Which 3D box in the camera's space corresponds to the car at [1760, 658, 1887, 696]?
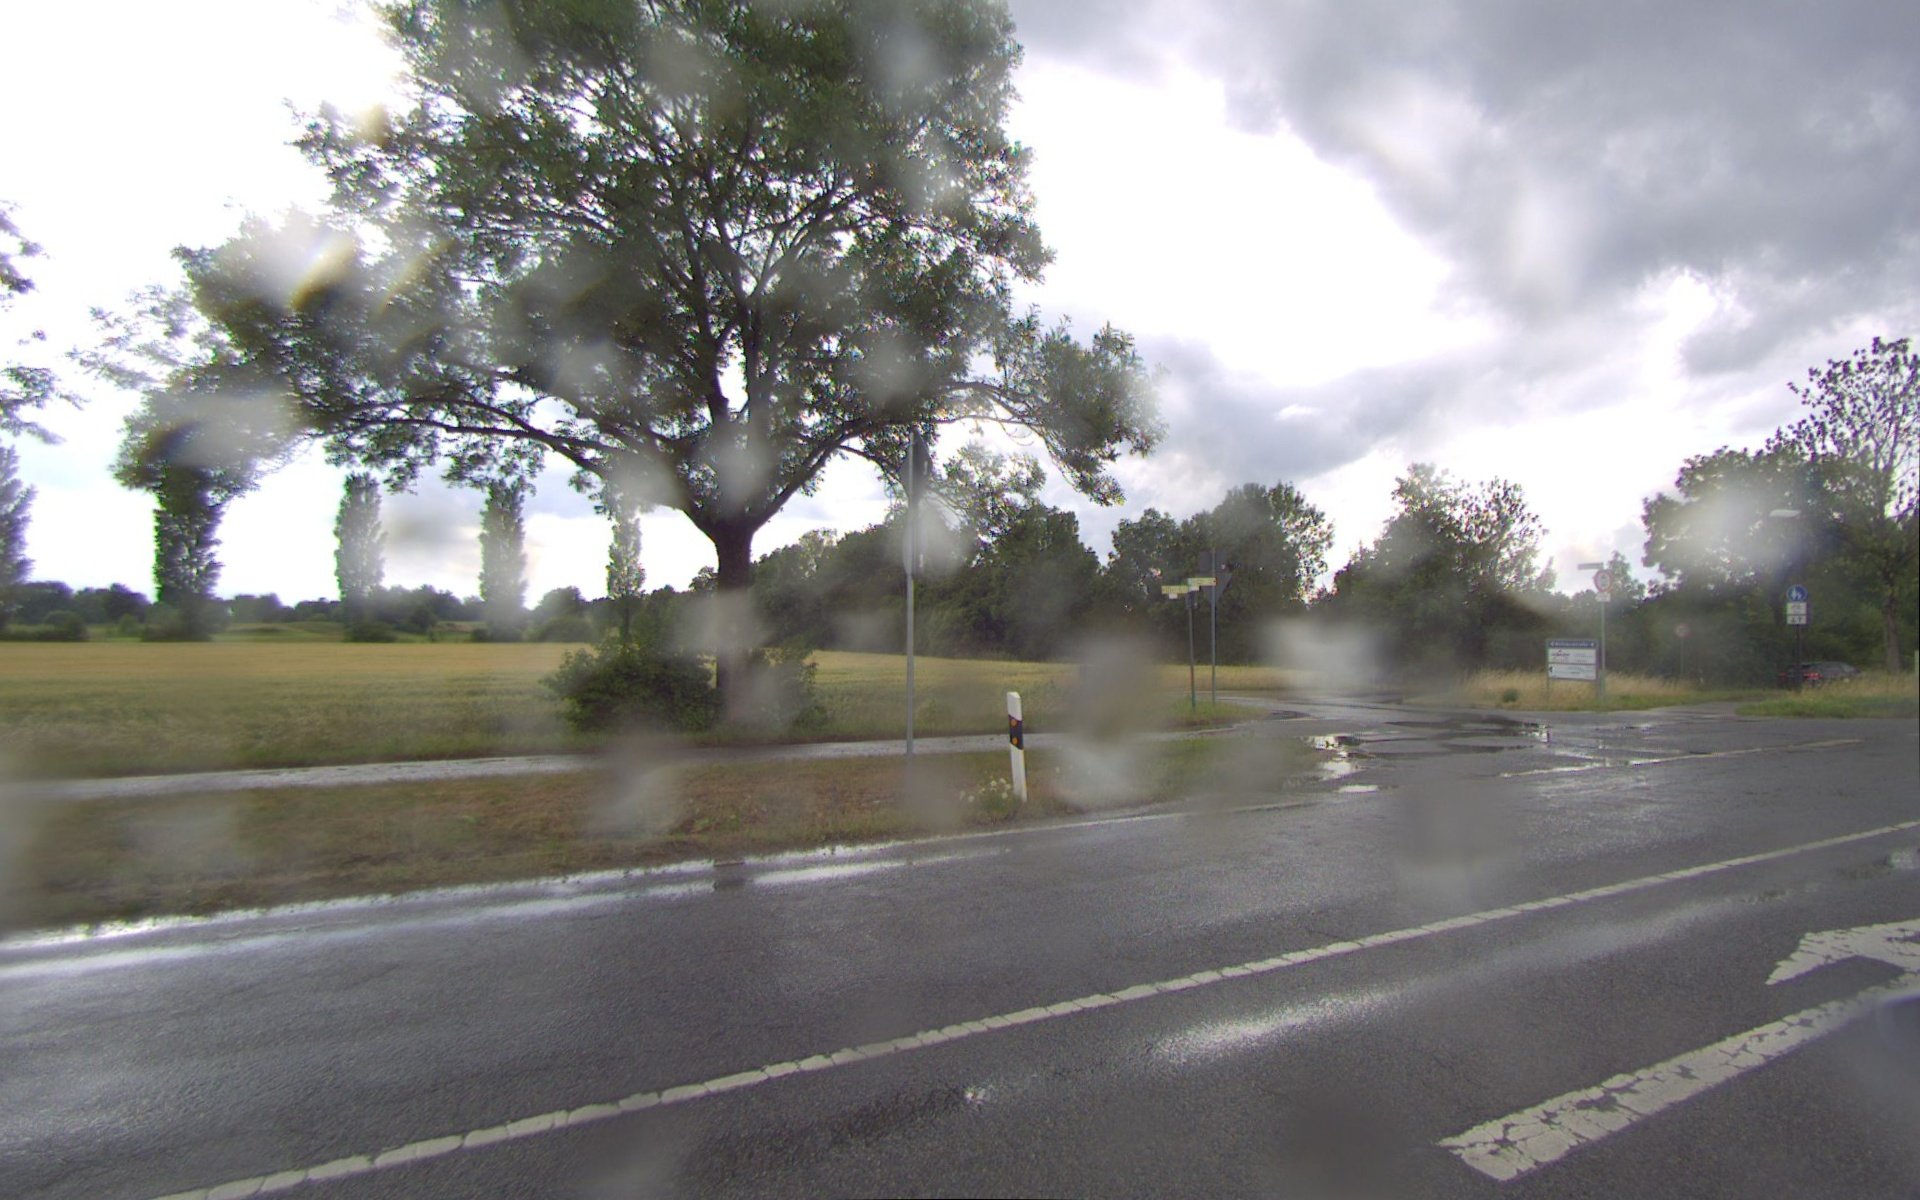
[{"bbox_3d":[41.639,3.709,48.493,4.549,1.568,2.305,2,0,-10],"label":"car"}]
